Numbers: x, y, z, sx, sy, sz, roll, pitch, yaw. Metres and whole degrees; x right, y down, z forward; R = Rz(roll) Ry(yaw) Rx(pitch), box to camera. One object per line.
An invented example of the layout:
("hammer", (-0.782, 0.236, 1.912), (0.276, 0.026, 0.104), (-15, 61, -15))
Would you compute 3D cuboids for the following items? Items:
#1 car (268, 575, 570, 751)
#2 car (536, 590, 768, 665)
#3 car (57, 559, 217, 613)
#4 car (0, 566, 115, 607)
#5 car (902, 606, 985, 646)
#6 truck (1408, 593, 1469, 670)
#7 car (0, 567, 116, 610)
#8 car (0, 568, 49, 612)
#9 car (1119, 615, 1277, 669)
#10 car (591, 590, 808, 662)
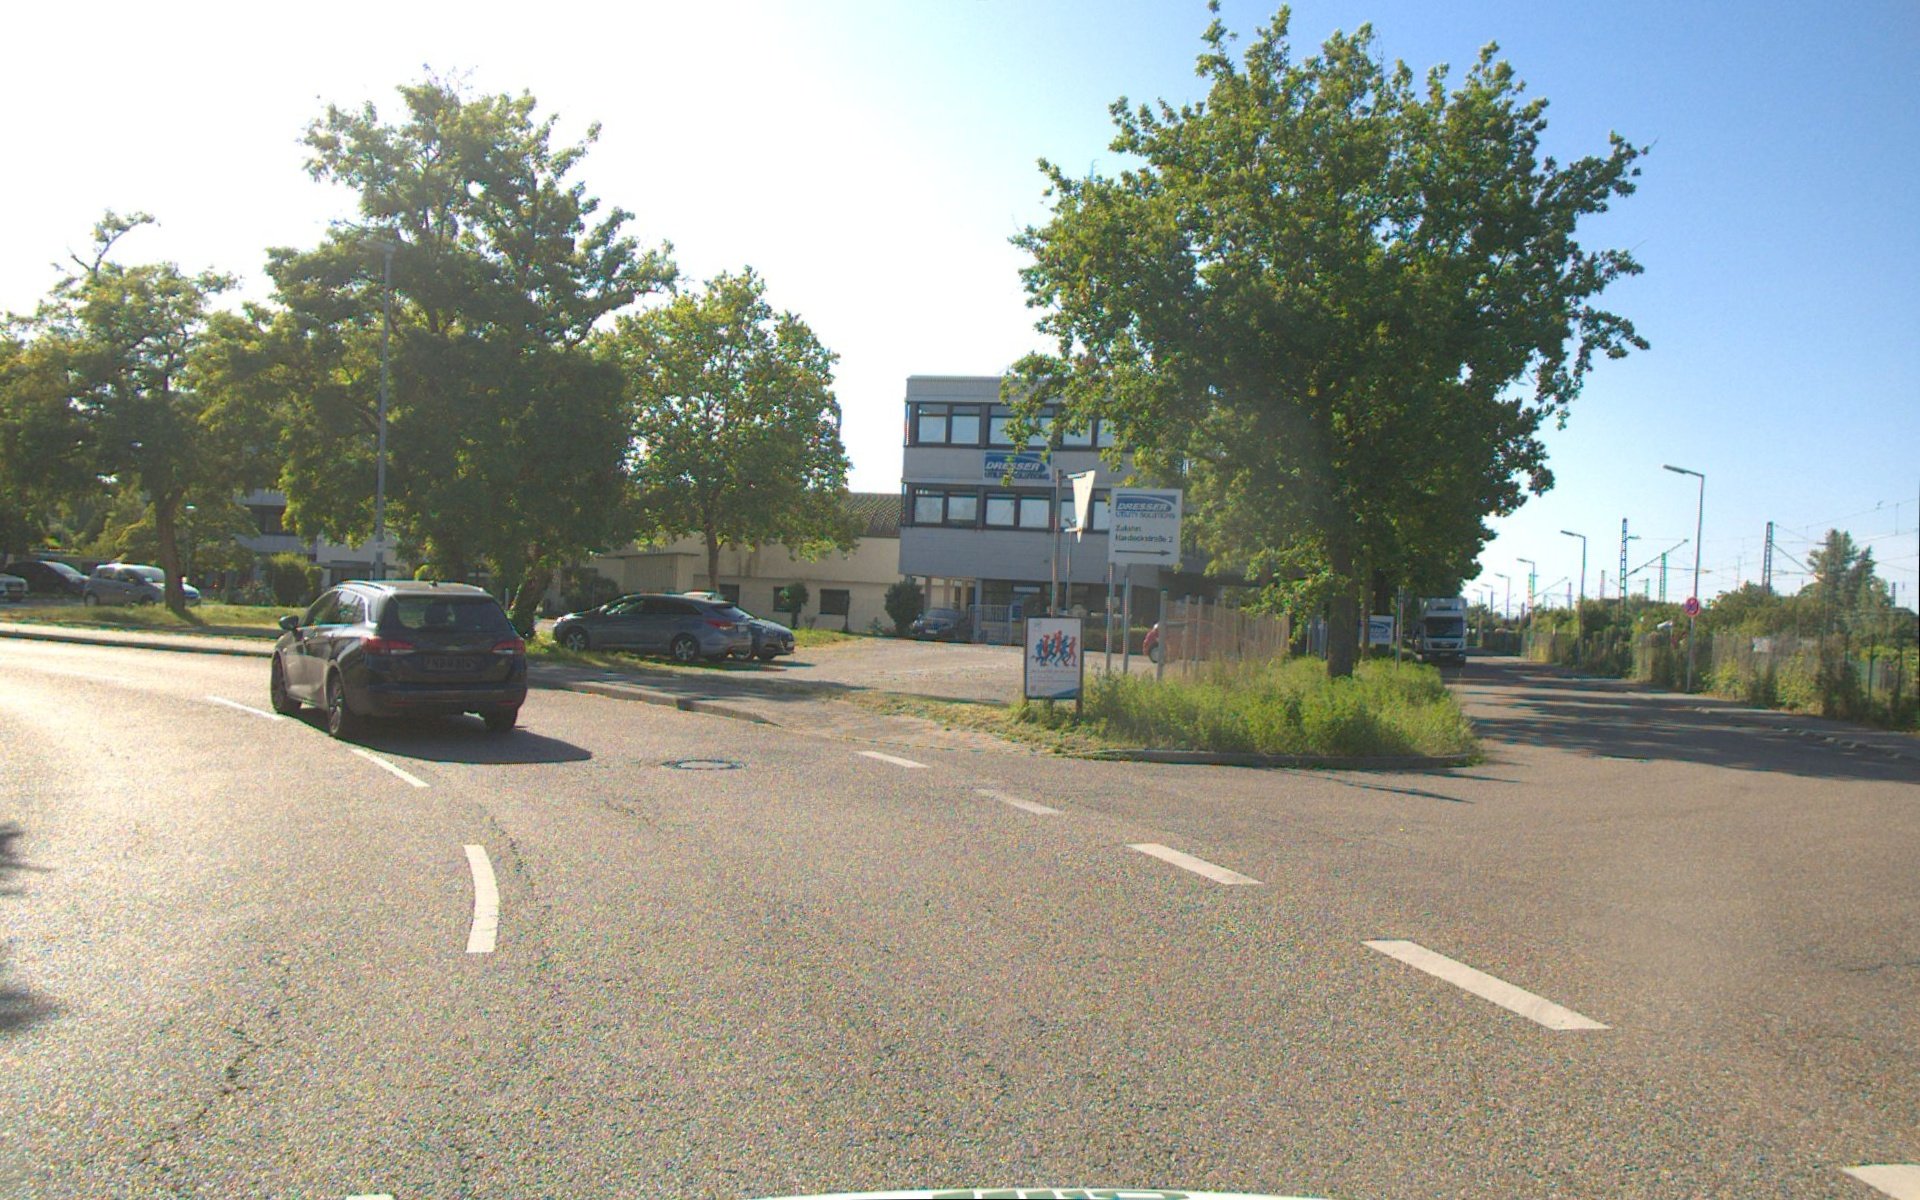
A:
("car", (-5.778, 0.558, 17.285), (1.924, 1.514, 4.514), (1, 1, -33))
("car", (-7.044, 0.614, 37.970), (4.807, 1.451, 2.001), (2, 0, 15))
("car", (-26.164, -0.453, 52.579), (4.815, 1.510, 1.998), (2, 0, 26))
("car", (-37.737, -0.560, 68.895), (4.815, 1.510, 1.998), (2, 0, 26))
("car", (-0.647, 1.051, 68.918), (1.952, 1.510, 4.929), (2, 1, 18))
("truck", (27.391, 1.811, 95.146), (2.558, 3.952, 13.541), (3, 0, 13))
("car", (-35.902, -0.460, 65.376), (4.815, 1.510, 1.998), (2, 0, 26))
("car", (-35.018, -0.435, 58.956), (4.815, 1.510, 1.998), (2, 0, 26))
("car", (7.867, 1.351, 54.574), (4.809, 1.510, 2.000), (3, 1, 20))
("car", (-6.360, 0.628, 40.483), (4.807, 1.510, 2.001), (2, 0, 15))
